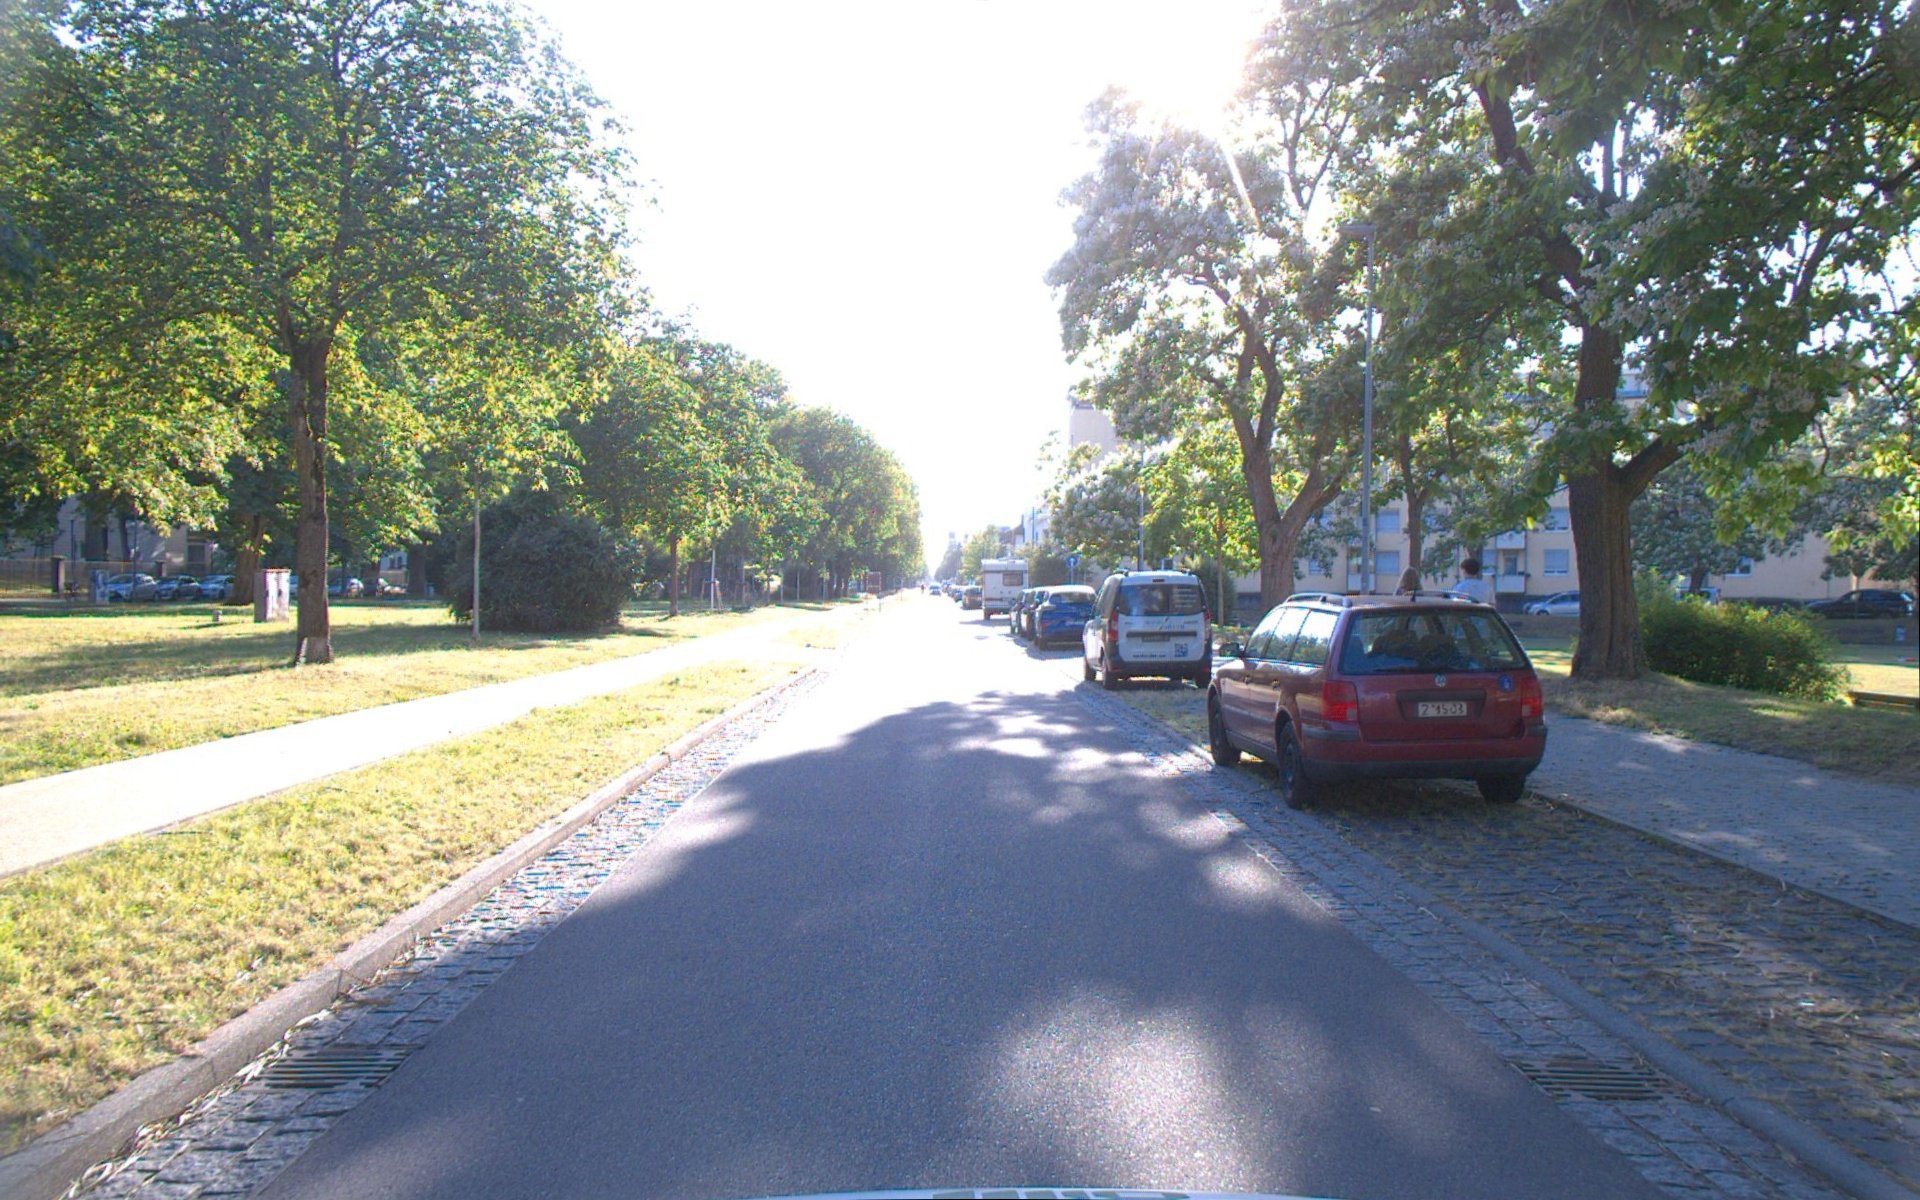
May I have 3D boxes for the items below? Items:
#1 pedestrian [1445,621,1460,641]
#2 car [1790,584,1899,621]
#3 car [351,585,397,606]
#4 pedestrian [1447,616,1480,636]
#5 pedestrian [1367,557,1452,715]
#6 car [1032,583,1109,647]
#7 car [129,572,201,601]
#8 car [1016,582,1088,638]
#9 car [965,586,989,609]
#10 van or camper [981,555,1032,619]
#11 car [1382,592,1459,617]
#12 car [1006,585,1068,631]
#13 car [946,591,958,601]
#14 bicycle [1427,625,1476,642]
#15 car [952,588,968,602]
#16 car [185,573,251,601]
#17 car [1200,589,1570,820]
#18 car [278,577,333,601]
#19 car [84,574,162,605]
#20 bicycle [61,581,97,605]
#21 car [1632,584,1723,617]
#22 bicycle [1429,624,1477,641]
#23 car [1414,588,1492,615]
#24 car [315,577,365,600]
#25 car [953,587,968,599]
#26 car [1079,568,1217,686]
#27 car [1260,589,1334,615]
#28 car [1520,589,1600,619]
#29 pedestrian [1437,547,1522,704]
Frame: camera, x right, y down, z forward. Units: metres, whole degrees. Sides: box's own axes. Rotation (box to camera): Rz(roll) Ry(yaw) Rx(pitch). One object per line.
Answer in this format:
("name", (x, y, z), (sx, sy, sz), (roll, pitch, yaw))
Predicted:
("pedestrian", (21.438, 1.350, 71.998), (0.463, 0.827, 0.612), (1, 0, 0))
("car", (43.904, 0.119, 82.144), (4.447, 1.776, 1.869), (0, 0, 43))
("car", (-43.158, -0.323, 121.907), (1.953, 1.534, 4.115), (0, 0, 0))
("pedestrian", (21.588, 1.109, 70.894), (1.238, 0.827, 0.570), (2, 1, 45))
("pedestrian", (5.182, 0.404, 19.104), (0.738, 1.766, 0.731), (1, 0, 0))
("car", (2.802, 0.366, 42.514), (1.696, 1.578, 4.275), (0, 0, 0))
("car", (-42.580, -0.711, 88.702), (1.953, 1.534, 4.000), (0, 0, 0))
("car", (2.666, 0.289, 48.764), (1.697, 1.578, 4.420), (0, 0, -2))
("car", (1.214, -0.194, 121.331), (1.593, 1.698, 4.248), (0, 0, -1))
("van or camper", (2.218, -0.585, 79.975), (2.189, 2.955, 5.671), (0, -1, -1))
("car", (25.905, 0.231, 93.029), (4.108, 1.381, 1.693), (0, 0, 20))
("car", (2.541, 0.249, 55.346), (1.594, 1.489, 4.246), (0, 0, -4))
("car", (-1.128, -0.550, 222.914), (1.593, 1.434, 4.248), (0, 0, -1))
("bicycle", (20.305, 1.375, 68.277), (1.730, 0.625, 1.811), (1, 0, 23))
("car", (-0.016, -0.554, 174.825), (1.593, 1.434, 4.248), (0, 0, -1))
("car", (-42.534, -0.735, 94.861), (1.953, 1.534, 4.115), (0, 0, 0))
("car", (3.141, 0.679, 13.259), (1.644, 1.512, 4.808), (0, 0, -1))
("car", (-42.503, -0.698, 107.547), (1.953, 1.534, 4.115), (0, 0, 0))
("car", (-42.500, -0.535, 84.101), (1.953, 1.534, 4.000), (0, 0, 0))
("bicycle", (-44.247, -0.370, 83.083), (0.644, 1.196, 2.332), (0, 0, -4))
("car", (40.169, 0.026, 92.590), (4.433, 1.776, 1.875), (0, 0, 34))
("bicycle", (20.732, 1.367, 69.549), (1.730, 0.625, 1.811), (1, 0, 23))
("car", (29.314, 0.104, 98.347), (4.416, 1.597, 1.881), (0, 0, 18))
("car", (-43.244, -0.803, 115.492), (1.953, 1.534, 4.115), (0, 0, 0))
("car", (0.013, -0.788, 186.209), (1.593, 1.434, 4.248), (0, 0, -1))
("car", (2.988, 0.402, 27.097), (1.644, 1.770, 4.513), (0, 0, -1))
("car", (19.311, 0.124, 94.804), (4.105, 1.488, 1.694), (0, 0, 15))
("car", (32.619, 0.218, 89.919), (3.909, 1.579, 1.609), (0, 0, 27))
("pedestrian", (6.004, 0.288, 19.143), (0.710, 1.766, 0.731), (1, 0, 0))
